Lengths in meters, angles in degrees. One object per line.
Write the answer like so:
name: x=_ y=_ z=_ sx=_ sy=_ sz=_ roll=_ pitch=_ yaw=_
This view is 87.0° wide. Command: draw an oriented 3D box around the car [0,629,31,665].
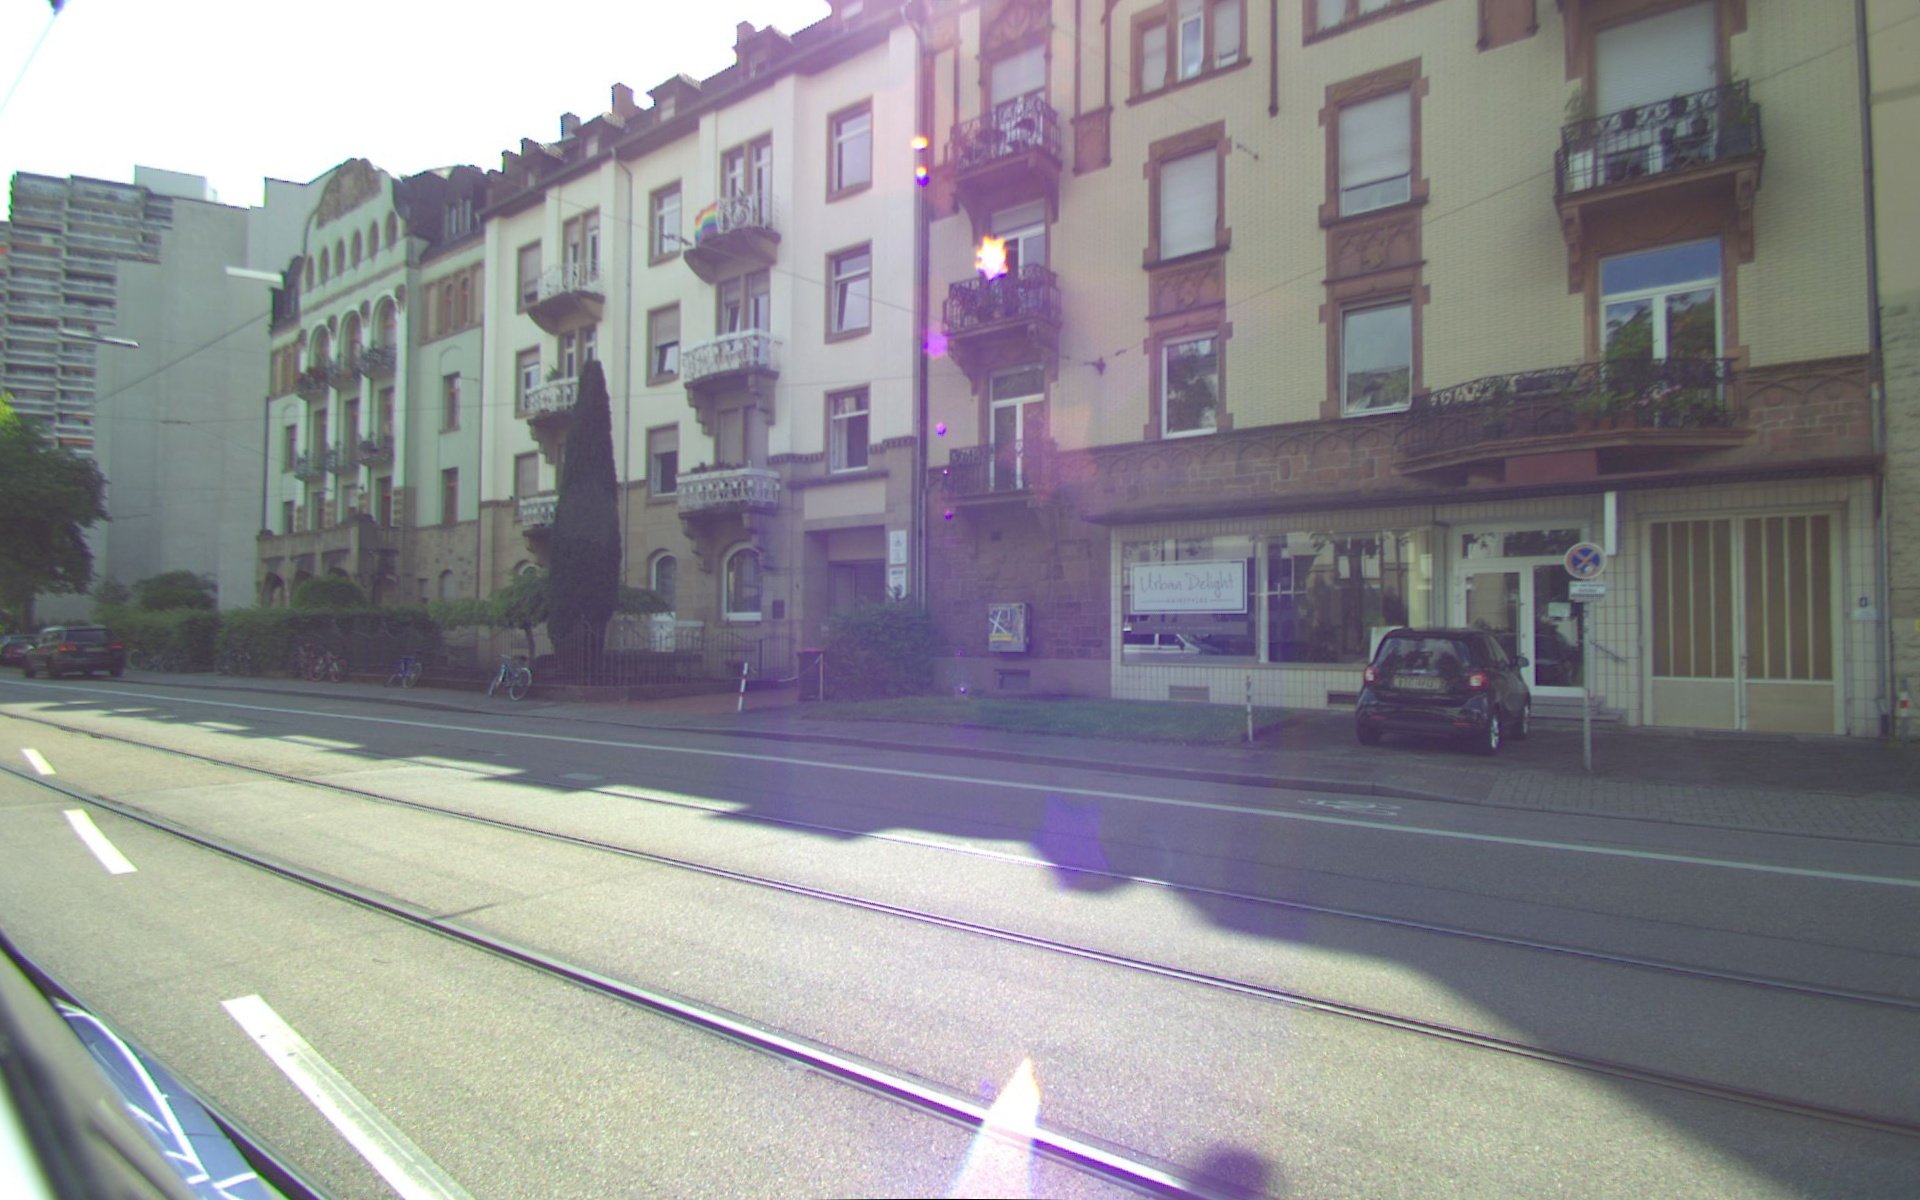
car: x=-53.444 y=2.554 z=55.137 sx=1.829 sy=1.940 sz=3.947 roll=-2 pitch=-3 yaw=39

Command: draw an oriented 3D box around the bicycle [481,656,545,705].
bicycle: x=-9.740 y=1.736 z=22.004 sx=2.068 sy=0.913 sz=0.517 roll=1 pitch=-1 yaw=45

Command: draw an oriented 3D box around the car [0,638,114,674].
car: x=-40.533 y=2.476 z=45.297 sx=1.632 sy=1.548 sz=3.842 roll=-2 pitch=-3 yaw=38

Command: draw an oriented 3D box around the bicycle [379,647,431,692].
bicycle: x=-13.899 y=1.729 z=25.322 sx=1.872 sy=1.037 sz=0.532 roll=-1 pitch=-2 yaw=42

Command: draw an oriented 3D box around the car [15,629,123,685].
car: x=-29.544 y=1.850 z=33.539 sx=4.323 sy=1.724 sz=1.775 roll=-2 pitch=-3 yaw=36

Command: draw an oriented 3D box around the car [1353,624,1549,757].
car: x=6.767 y=1.114 z=13.784 sx=1.704 sy=1.497 sz=3.411 roll=-2 pitch=-1 yaw=38

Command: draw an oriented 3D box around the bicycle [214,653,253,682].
bicycle: x=-22.527 y=2.079 z=31.384 sx=1.872 sy=0.803 sz=0.579 roll=-1 pitch=0 yaw=42

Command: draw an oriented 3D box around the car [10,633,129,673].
car: x=-38.229 y=2.243 z=43.504 sx=1.607 sy=1.652 sz=3.587 roll=-1 pitch=-3 yaw=37

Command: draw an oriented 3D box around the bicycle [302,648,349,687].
bicycle: x=-17.540 y=1.857 z=27.953 sx=1.872 sy=0.993 sz=0.579 roll=-1 pitch=-2 yaw=42
